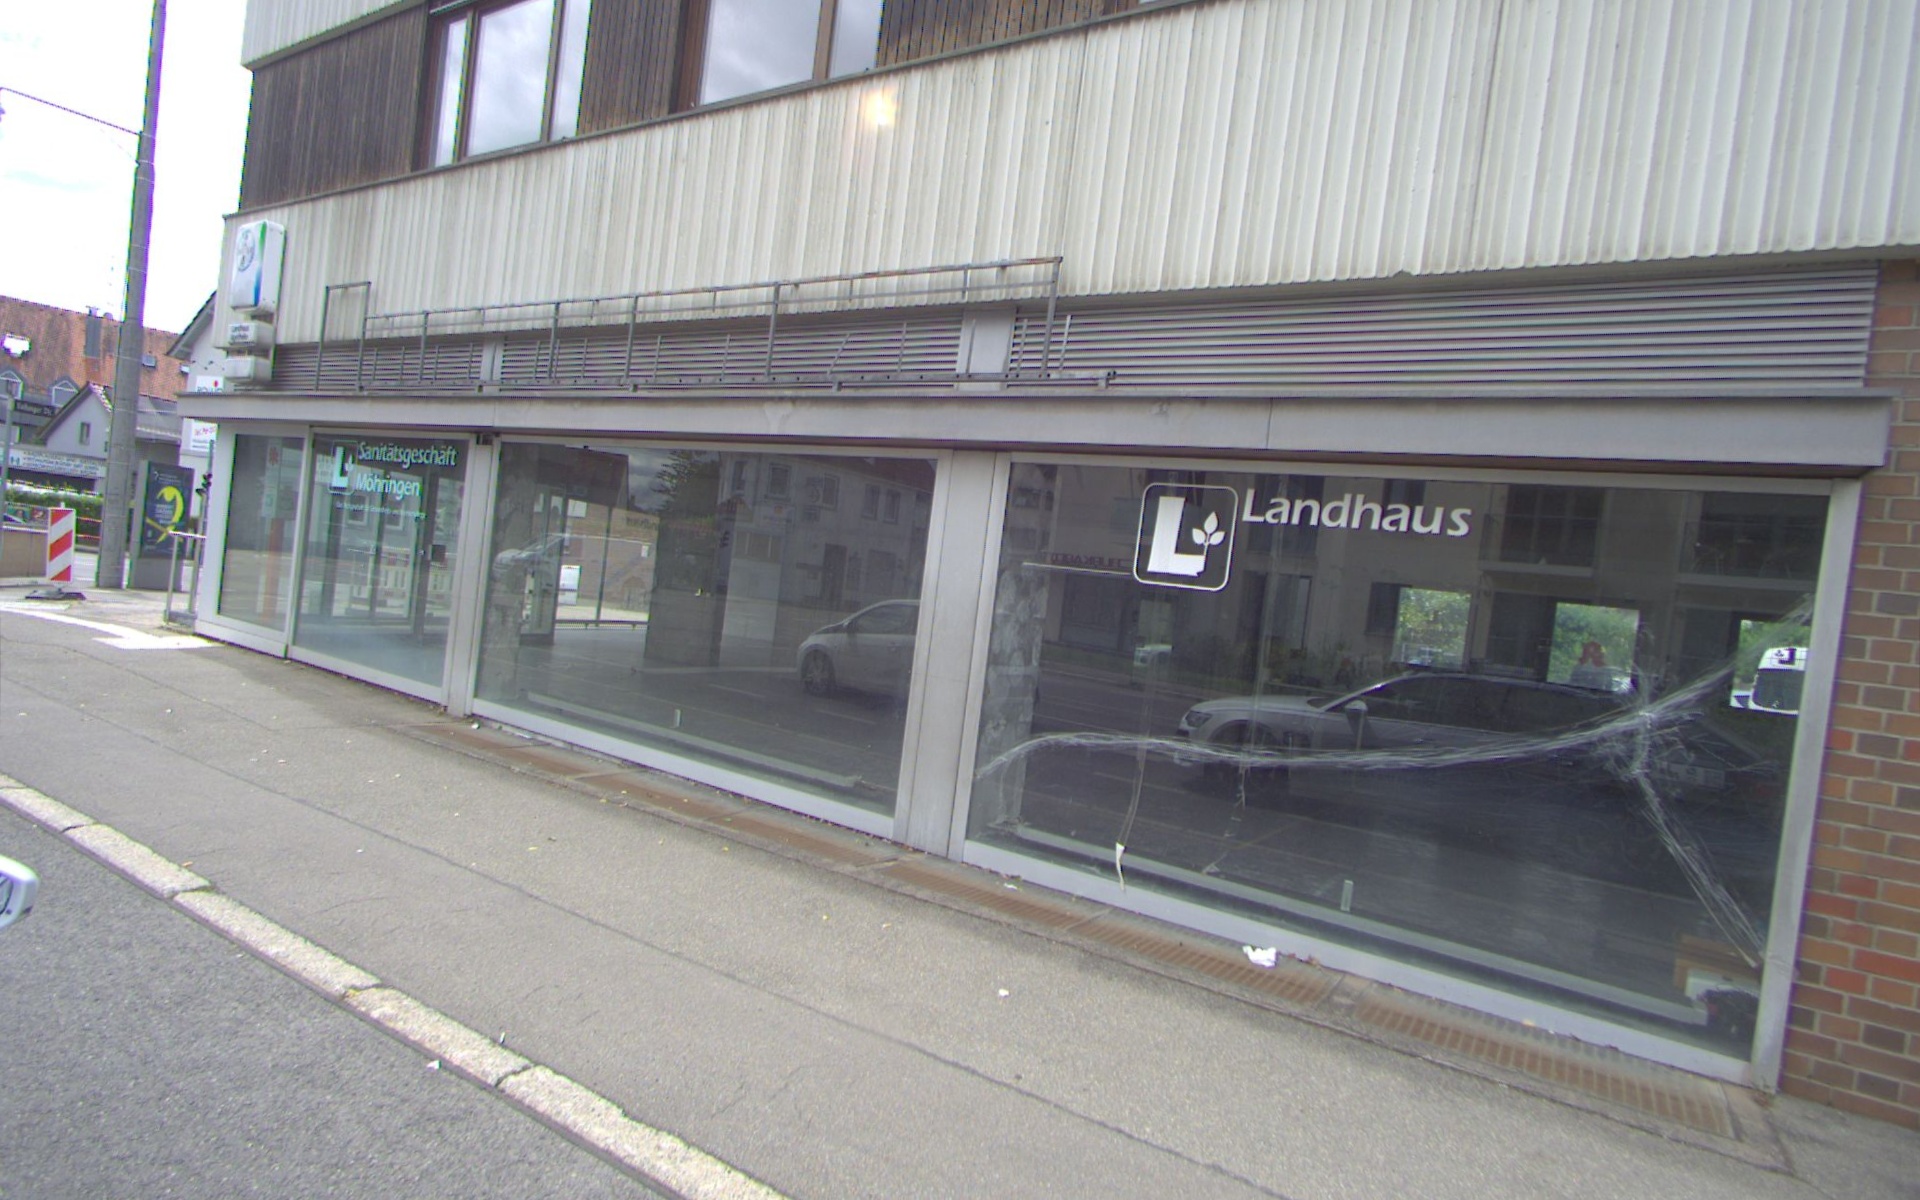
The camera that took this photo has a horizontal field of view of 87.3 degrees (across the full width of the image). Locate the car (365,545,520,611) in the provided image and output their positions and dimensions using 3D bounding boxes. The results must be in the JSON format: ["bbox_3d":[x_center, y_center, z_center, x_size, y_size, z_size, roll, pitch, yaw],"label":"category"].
[{"bbox_3d":[-17.266,-0.697,33.833,1.963,1.696,4.306,7,-1,21],"label":"car"}]

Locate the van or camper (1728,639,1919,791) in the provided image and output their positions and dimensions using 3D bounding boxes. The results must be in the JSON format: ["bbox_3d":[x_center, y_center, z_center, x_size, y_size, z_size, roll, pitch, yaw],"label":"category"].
[{"bbox_3d":[18.993,2.419,20.046,5.409,2.574,2.058,7,1,4],"label":"van or camper"}]

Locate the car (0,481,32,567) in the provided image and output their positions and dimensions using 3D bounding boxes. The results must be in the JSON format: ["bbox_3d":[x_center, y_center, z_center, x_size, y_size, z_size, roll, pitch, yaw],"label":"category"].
[{"bbox_3d":[-22.102,-1.845,20.259,1.964,1.764,4.511,9,1,23],"label":"car"}]

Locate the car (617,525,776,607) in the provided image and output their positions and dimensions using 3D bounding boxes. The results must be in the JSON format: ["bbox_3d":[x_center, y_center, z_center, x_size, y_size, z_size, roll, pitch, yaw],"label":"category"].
[{"bbox_3d":[-8.907,-1.113,34.236,4.691,2.037,1.976,9,-2,-44],"label":"car"}]
